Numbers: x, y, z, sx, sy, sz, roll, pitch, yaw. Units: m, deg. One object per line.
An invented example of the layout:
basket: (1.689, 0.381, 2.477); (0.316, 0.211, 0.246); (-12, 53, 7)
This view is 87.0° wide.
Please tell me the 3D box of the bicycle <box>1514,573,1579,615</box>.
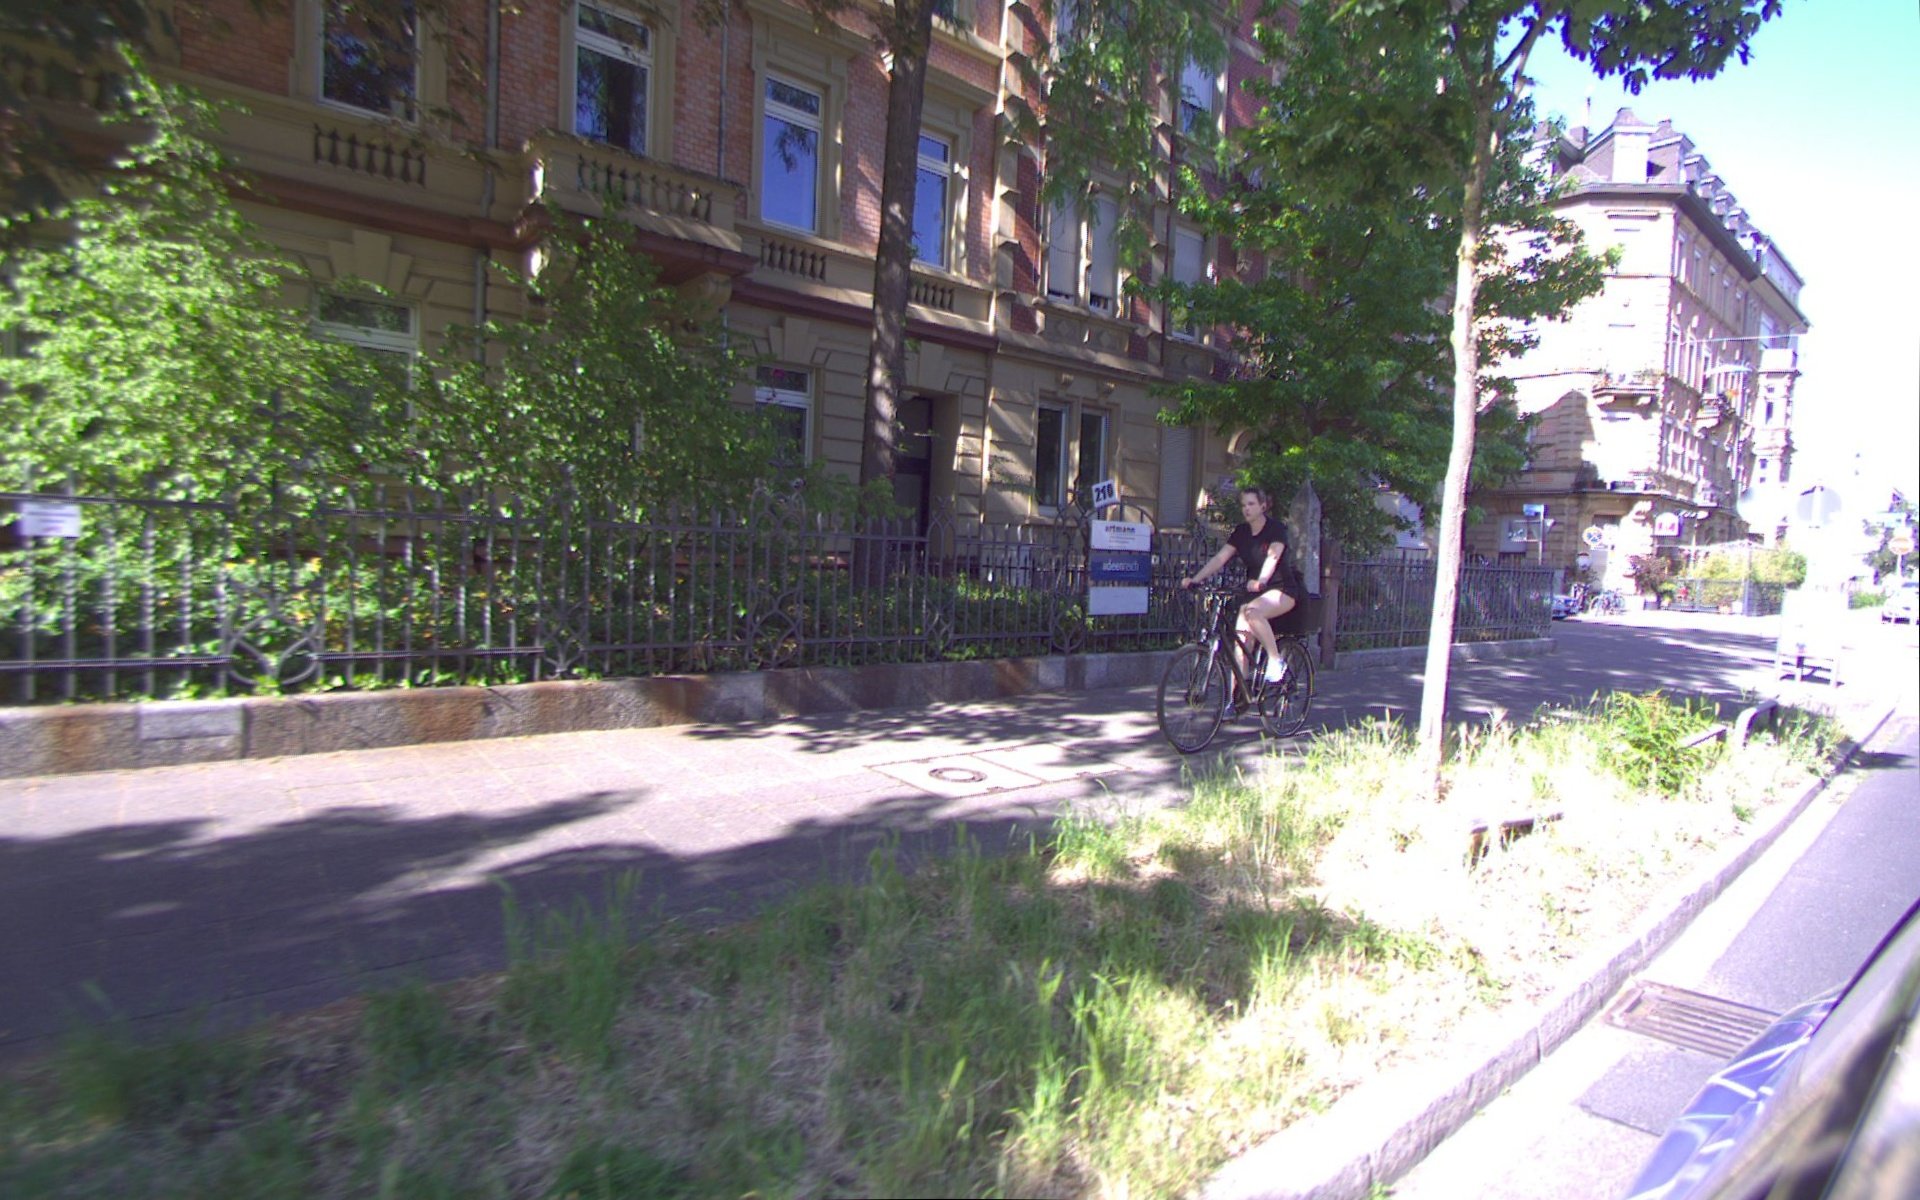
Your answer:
bicycle: (16.854, -0.194, 29.136); (0.574, 1.148, 2.020); (3, 1, -1)

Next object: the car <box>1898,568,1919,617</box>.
car: (38.476, -0.281, 40.048); (3.502, 1.896, 1.692); (-1, 4, -43)

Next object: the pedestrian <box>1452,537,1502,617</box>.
pedestrian: (12.645, -0.572, 24.754); (0.679, 1.915, 0.769); (-1, 4, -23)

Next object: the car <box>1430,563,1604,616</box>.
car: (17.823, -0.379, 32.547); (2.010, 1.434, 4.421); (0, 4, -37)

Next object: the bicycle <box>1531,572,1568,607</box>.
bicycle: (21.047, -0.400, 36.108); (1.986, 1.148, 0.584); (-3, 6, -44)

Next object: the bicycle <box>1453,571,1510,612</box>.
bicycle: (15.490, -0.250, 30.038); (1.980, 1.148, 0.585); (1, 2, -35)

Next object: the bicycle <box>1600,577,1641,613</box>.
bicycle: (22.686, -0.189, 34.722); (1.986, 1.148, 0.734); (-3, 5, -44)

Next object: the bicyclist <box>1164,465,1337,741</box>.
bicyclist: (1.957, -0.008, 6.814); (0.874, 1.715, 0.646); (0, 5, -44)

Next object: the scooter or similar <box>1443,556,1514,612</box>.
scooter or similar: (12.526, -0.392, 24.465); (1.380, 1.278, 0.763); (0, 4, -23)

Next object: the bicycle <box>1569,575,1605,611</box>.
bicycle: (21.849, -0.265, 35.249); (1.986, 1.148, 0.584); (-2, 5, -45)

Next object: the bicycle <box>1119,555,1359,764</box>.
bicycle: (1.928, 0.335, 6.832); (1.813, 1.190, 0.653); (-1, 6, -44)
